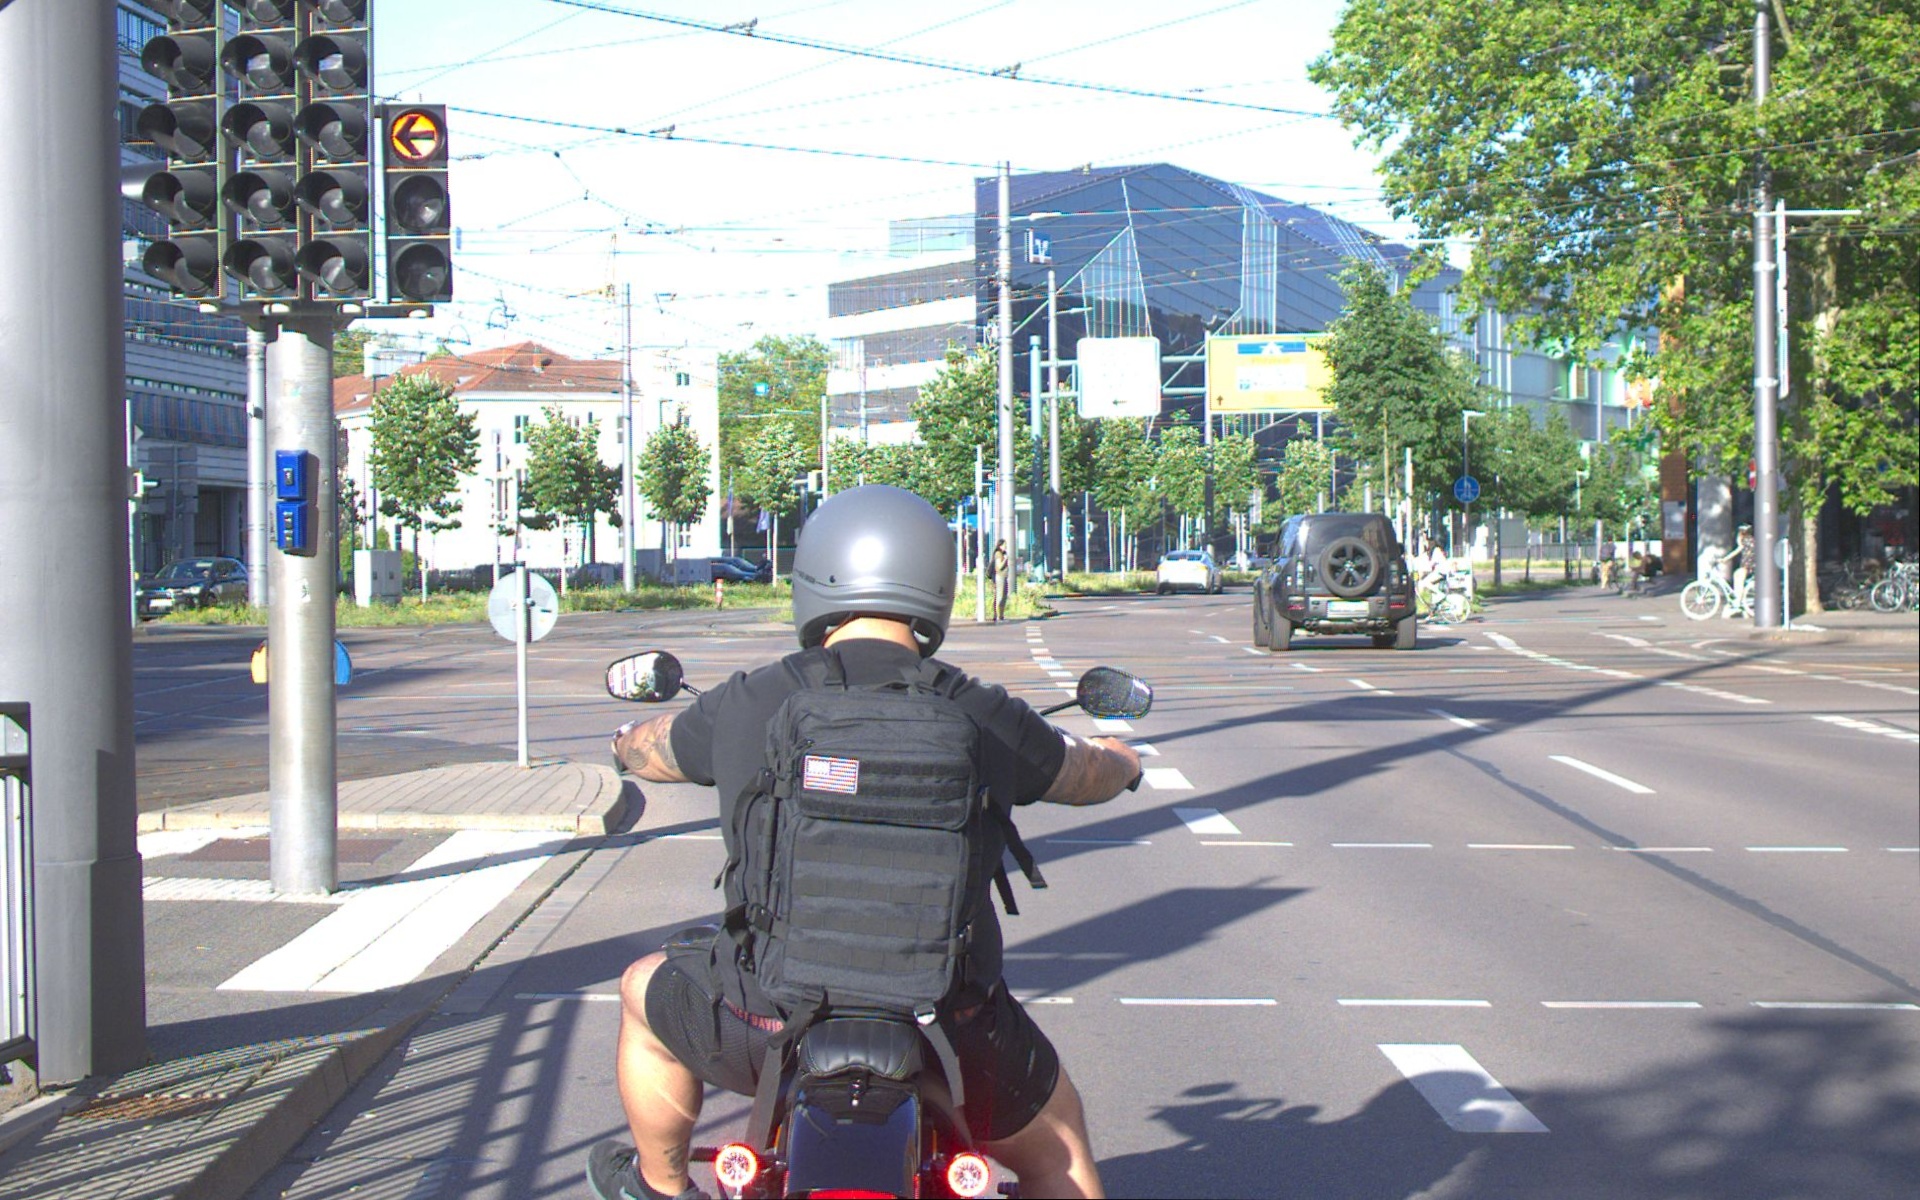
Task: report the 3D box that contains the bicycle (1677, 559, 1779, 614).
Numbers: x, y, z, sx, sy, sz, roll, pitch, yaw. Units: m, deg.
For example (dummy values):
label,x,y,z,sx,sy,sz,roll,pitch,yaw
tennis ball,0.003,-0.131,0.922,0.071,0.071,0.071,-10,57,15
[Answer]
label,x,y,z,sx,sy,sz,roll,pitch,yaw
bicycle,14.567,-0.265,65.237,1.853,1.018,0.516,-1,0,11

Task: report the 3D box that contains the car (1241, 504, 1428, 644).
label,x,y,z,sx,sy,sz,roll,pitch,yaw
car,5.226,-0.373,48.511,2.053,1.867,4.227,1,1,-2

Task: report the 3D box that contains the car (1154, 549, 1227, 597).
label,x,y,z,sx,sy,sz,roll,pitch,yaw
car,7.562,-0.892,112.473,1.902,1.503,3.998,1,1,11

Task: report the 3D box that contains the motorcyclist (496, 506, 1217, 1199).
label,x,y,z,sx,sy,sz,roll,pitch,yaw
motorcyclist,-0.160,0.633,5.583,1.022,1.547,1.286,1,1,-1

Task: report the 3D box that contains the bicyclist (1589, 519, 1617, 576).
label,x,y,z,sx,sy,sz,roll,pitch,yaw
bicyclist,21.110,-1.727,112.867,0.861,1.834,1.256,0,1,13

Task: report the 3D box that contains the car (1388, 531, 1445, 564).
label,x,y,z,sx,sy,sz,roll,pitch,yaw
car,20.737,-2.392,156.067,1.722,1.479,3.750,0,1,20

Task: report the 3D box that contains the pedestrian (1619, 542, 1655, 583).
label,x,y,z,sx,sy,sz,roll,pitch,yaw
pedestrian,17.862,-0.984,90.674,0.785,1.053,0.813,0,1,22

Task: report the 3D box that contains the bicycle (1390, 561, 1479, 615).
label,x,y,z,sx,sy,sz,roll,pitch,yaw
bicycle,9.260,-0.236,67.143,1.629,1.018,0.516,-1,0,23

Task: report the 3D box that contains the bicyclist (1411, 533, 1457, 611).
label,x,y,z,sx,sy,sz,roll,pitch,yaw
bicyclist,9.267,-0.549,67.185,0.743,1.498,0.569,-1,0,23

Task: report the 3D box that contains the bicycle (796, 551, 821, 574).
label,x,y,z,sx,sy,sz,roll,pitch,yaw
bicycle,-7.222,-1.800,164.414,0.643,1.104,1.683,0,1,18

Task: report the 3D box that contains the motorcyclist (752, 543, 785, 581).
label,x,y,z,sx,sy,sz,roll,pitch,yaw
motorcyclist,-8.651,-1.729,155.303,1.019,1.725,1.459,0,1,18

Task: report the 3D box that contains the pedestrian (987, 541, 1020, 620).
label,x,y,z,sx,sy,sz,roll,pitch,yaw
pedestrian,0.876,-0.396,69.160,0.657,1.577,0.489,0,1,3

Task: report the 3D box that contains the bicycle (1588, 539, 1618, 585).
label,x,y,z,sx,sy,sz,roll,pitch,yaw
bicycle,21.097,-1.257,112.780,0.861,1.476,2.575,0,1,13

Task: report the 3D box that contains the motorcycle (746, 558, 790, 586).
label,x,y,z,sx,sy,sz,roll,pitch,yaw
motorcycle,-8.666,-1.257,155.270,0.984,1.227,2.940,0,1,17

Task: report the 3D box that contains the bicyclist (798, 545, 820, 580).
label,x,y,z,sx,sy,sz,roll,pitch,yaw
bicyclist,-7.220,-1.777,164.394,0.764,1.661,0.993,0,1,17

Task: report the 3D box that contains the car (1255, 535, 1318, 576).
label,x,y,z,sx,sy,sz,roll,pitch,yaw
car,12.585,-1.731,132.356,1.774,1.509,3.730,0,1,16

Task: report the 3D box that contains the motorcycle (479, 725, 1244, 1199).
label,x,y,z,sx,sy,sz,roll,pitch,yaw
motorcycle,-0.148,0.839,5.716,1.005,1.121,2.323,1,1,-1

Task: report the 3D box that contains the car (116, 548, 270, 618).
label,x,y,z,sx,sy,sz,roll,pitch,yaw
car,-17.518,-0.412,78.724,1.792,1.461,4.309,-1,2,12

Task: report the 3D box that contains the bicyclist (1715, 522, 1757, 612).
label,x,y,z,sx,sy,sz,roll,pitch,yaw
bicyclist,14.720,-0.631,65.211,0.743,1.689,0.570,-1,0,11
